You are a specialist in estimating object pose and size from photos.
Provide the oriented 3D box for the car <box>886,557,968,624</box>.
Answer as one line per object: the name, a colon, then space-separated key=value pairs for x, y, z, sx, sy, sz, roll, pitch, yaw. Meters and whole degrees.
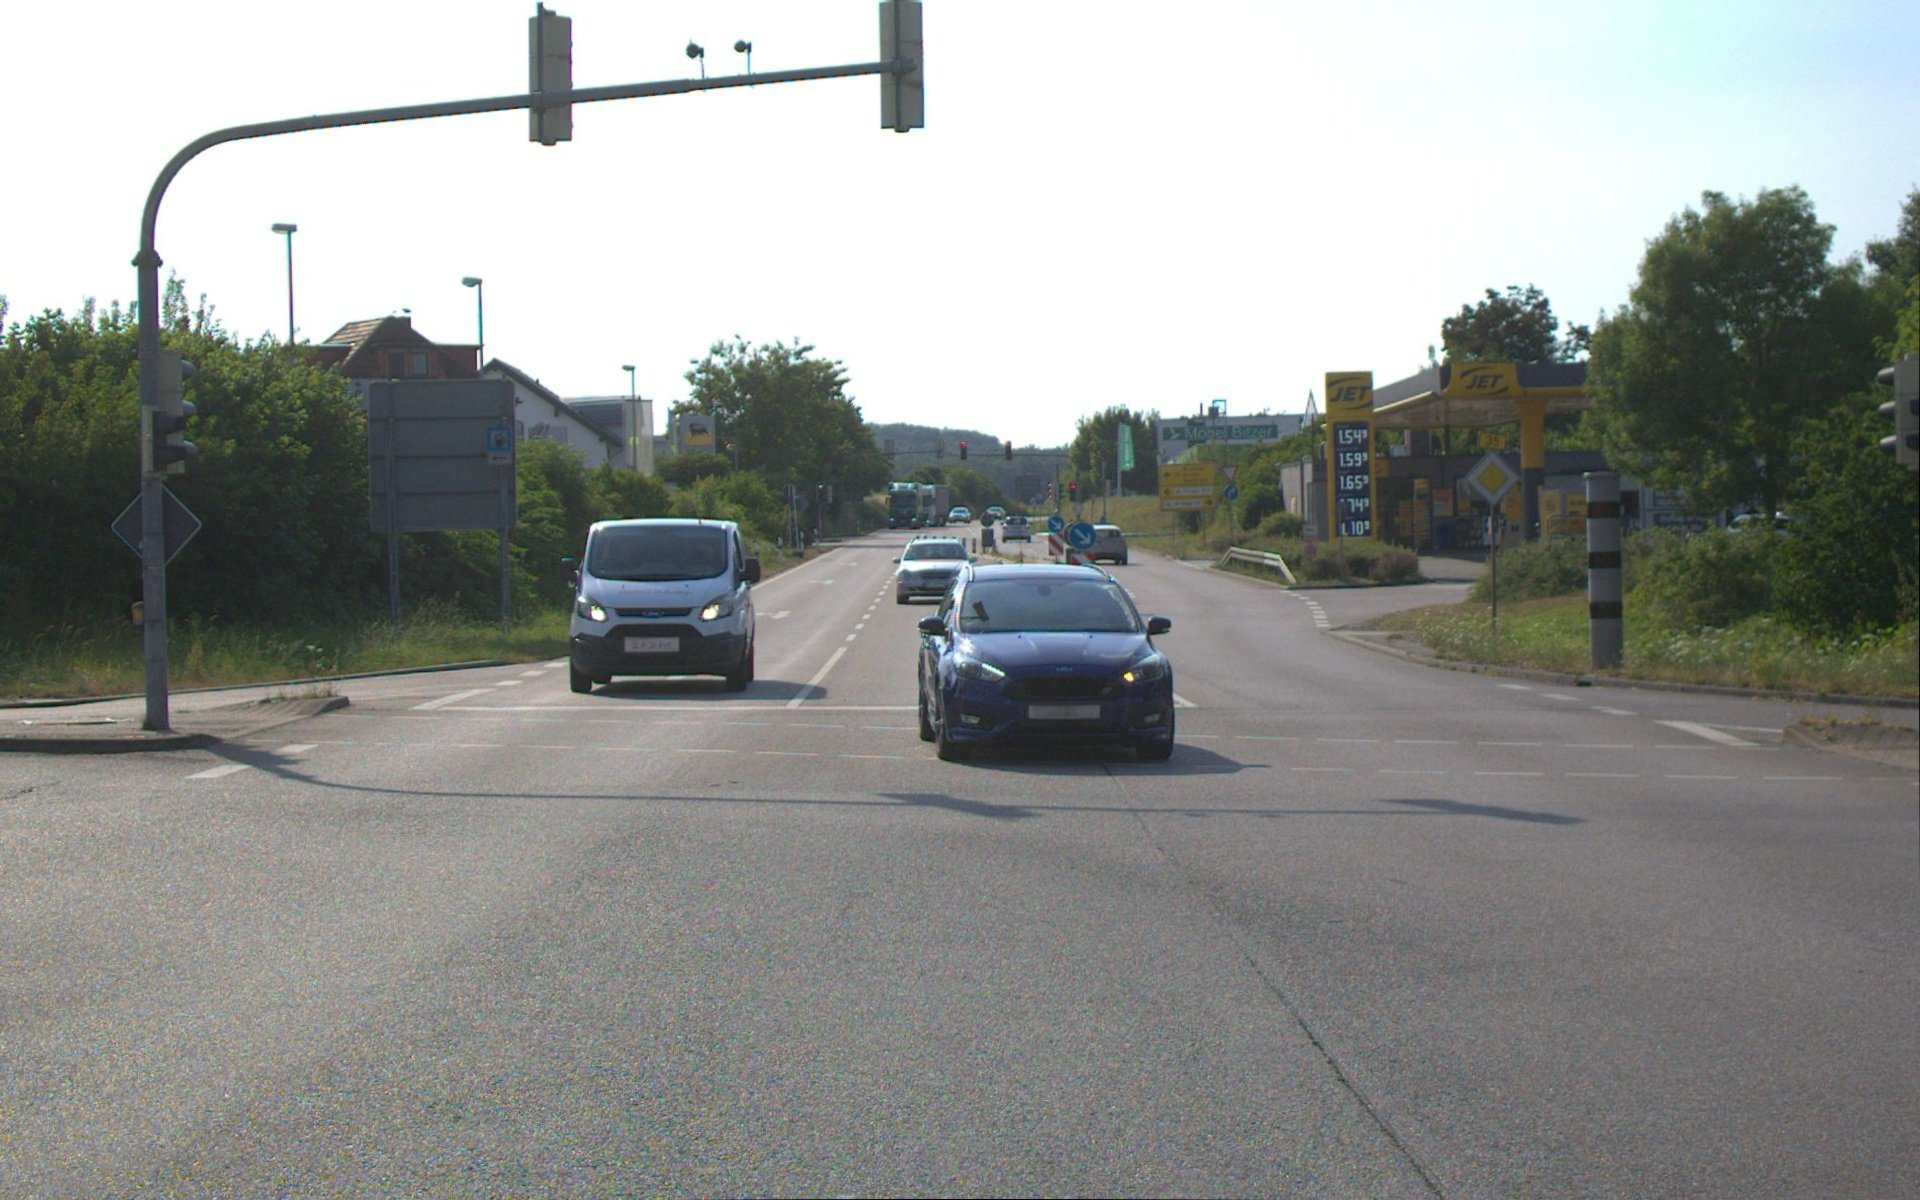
car: x=-0.782 y=-0.217 z=81.067 sx=1.857 sy=1.508 sz=4.953 roll=1 pitch=0 yaw=-1

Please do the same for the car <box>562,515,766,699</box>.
car: x=-3.367 y=0.015 z=39.966 sx=1.900 sy=1.941 sz=4.819 roll=1 pitch=2 yaw=0

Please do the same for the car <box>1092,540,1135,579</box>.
car: x=5.774 y=-1.518 z=129.348 sx=1.550 sy=1.444 sz=3.050 roll=1 pitch=0 yaw=2

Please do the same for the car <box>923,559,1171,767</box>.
car: x=0.719 y=0.458 z=27.309 sx=1.788 sy=1.492 sz=4.302 roll=1 pitch=0 yaw=2

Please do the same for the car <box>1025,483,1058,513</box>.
car: x=5.900 y=-7.400 z=249.046 sx=1.993 sy=2.007 sz=4.001 roll=1 pitch=0 yaw=-4

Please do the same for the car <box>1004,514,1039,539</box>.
car: x=3.567 y=-4.267 z=200.299 sx=1.740 sy=1.347 sz=3.204 roll=1 pitch=0 yaw=-4
